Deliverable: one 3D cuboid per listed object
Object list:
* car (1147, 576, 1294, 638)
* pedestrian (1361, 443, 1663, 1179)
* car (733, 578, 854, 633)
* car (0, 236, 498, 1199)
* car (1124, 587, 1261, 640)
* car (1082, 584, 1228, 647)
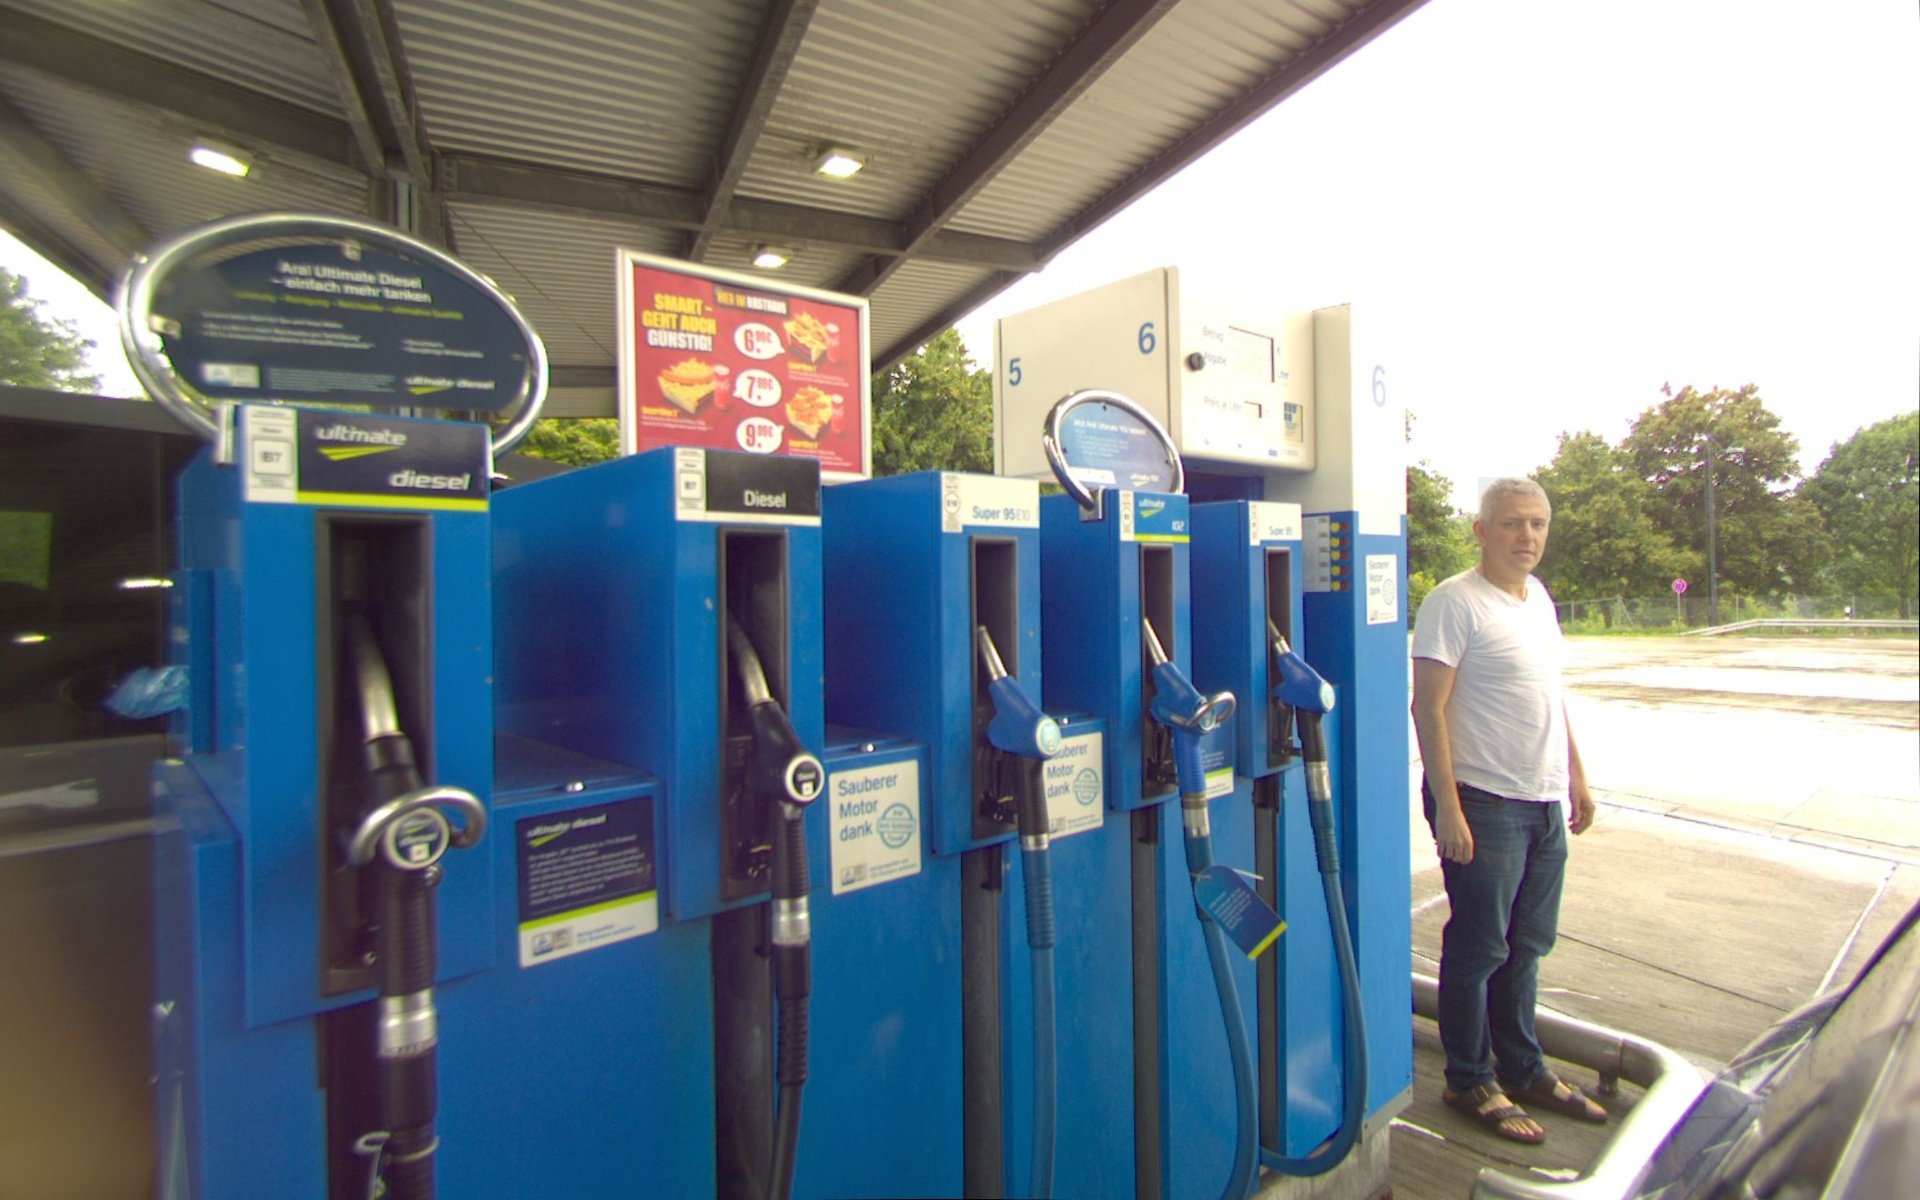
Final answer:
[{"bbox_3d":[8.770,0.207,34.372,4.700,2.011,2.007,0,0,14],"label":"car"},{"bbox_3d":[1.570,0.517,2.890,0.621,1.832,0.495,-2,1,-31],"label":"pedestrian"},{"bbox_3d":[-5.555,0.153,33.465,1.967,1.683,4.170,0,0,-44],"label":"car"},{"bbox_3d":[-3.023,0.404,1.478,3.930,1.973,1.819,0,0,-41],"label":"car"},{"bbox_3d":[7.395,0.405,32.147,4.123,1.576,1.990,0,0,17],"label":"car"},{"bbox_3d":[5.807,0.421,30.013,4.123,1.752,1.990,0,0,17],"label":"car"}]
